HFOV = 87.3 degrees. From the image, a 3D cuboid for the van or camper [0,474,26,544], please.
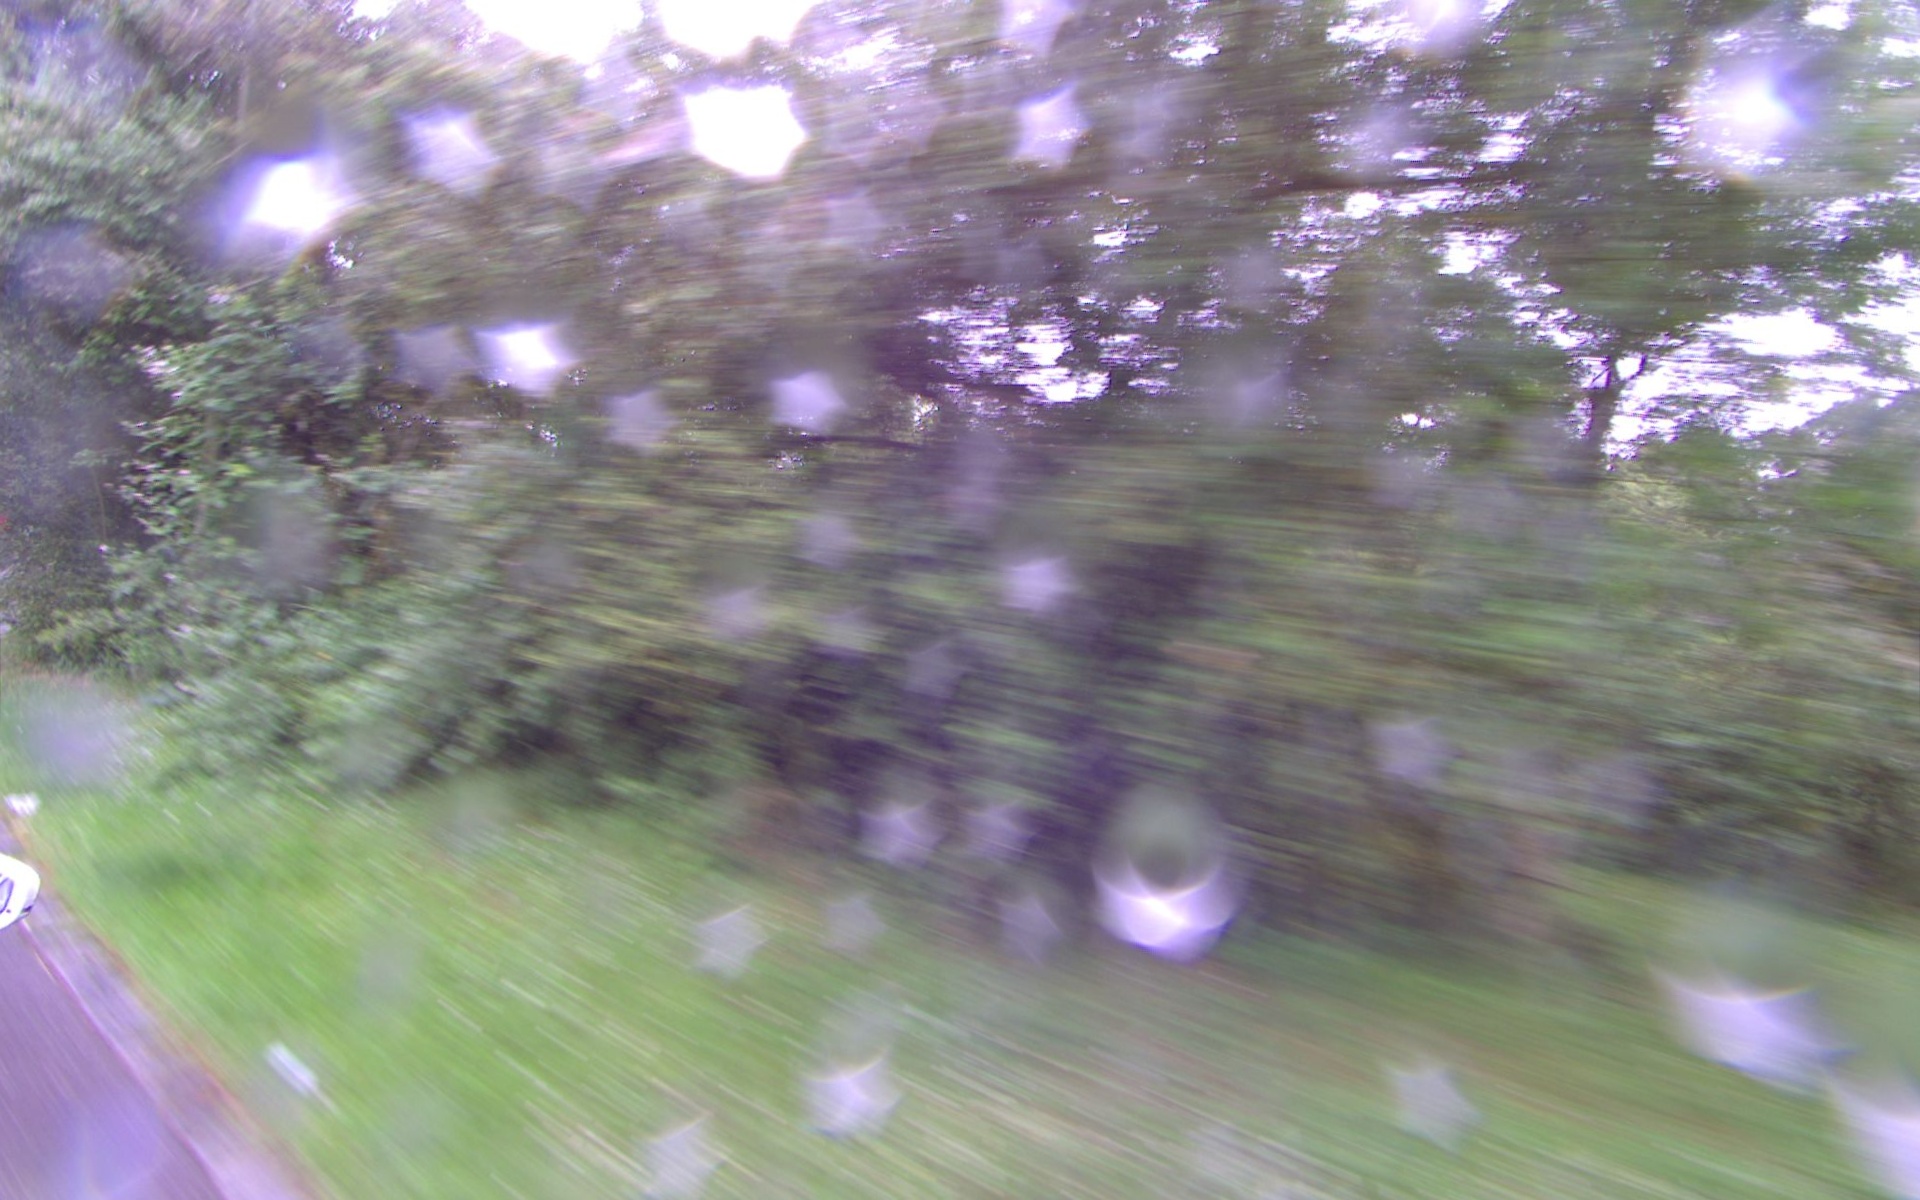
[{"bbox_3d":[-28.958,-2.772,28.860,4.380,1.904,1.996,5,-1,32],"label":"van or camper"}]
